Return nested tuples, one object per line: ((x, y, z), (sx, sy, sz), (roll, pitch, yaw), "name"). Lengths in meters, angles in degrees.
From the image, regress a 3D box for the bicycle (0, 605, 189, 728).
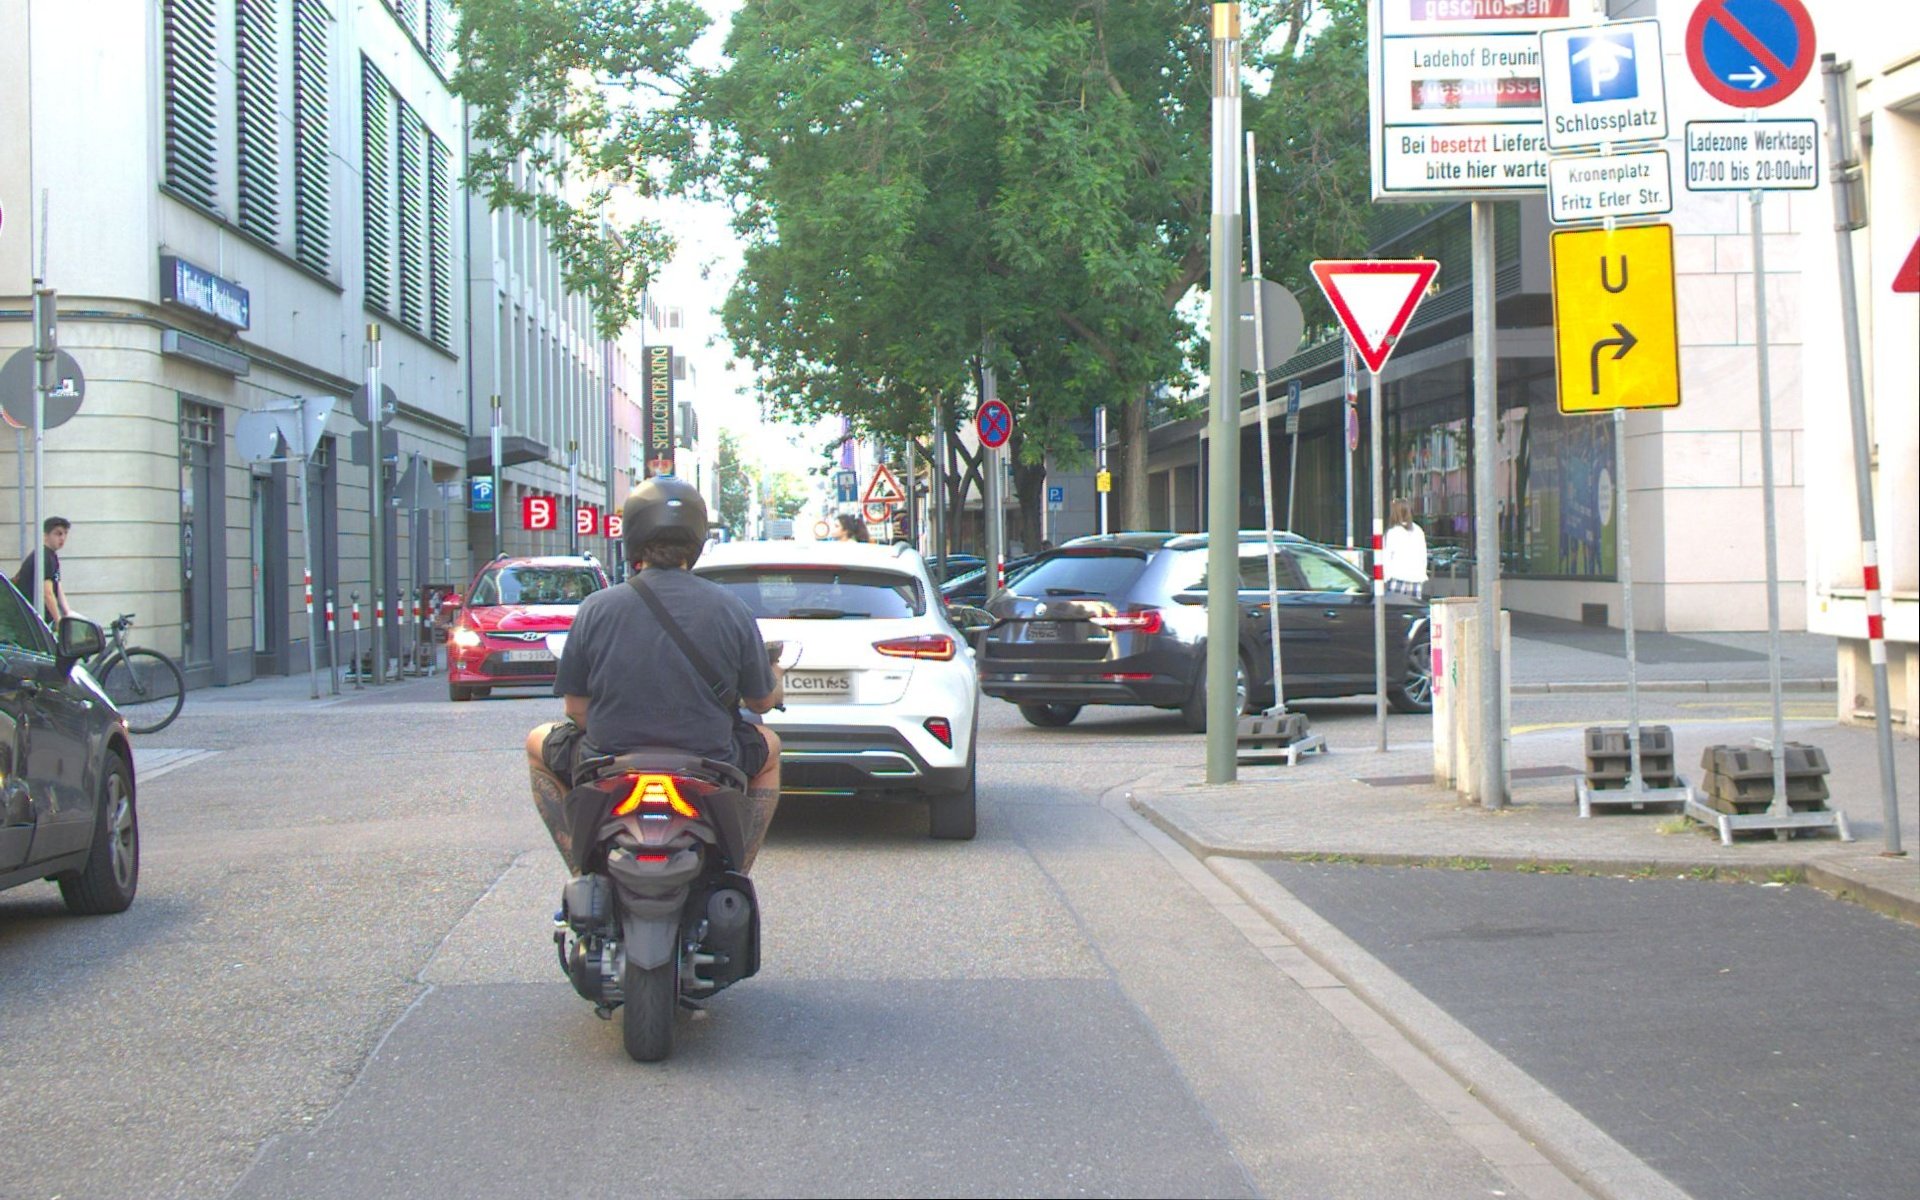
((-7.063, 0.522, 27.329), (1.814, 0.970, 0.511), (0, 0, -13), "bicycle")

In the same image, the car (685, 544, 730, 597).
((-11.594, -1.365, 157.669), (1.993, 2.321, 5.022), (1, 1, -5), "car")

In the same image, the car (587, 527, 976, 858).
((-0.963, 0.392, 18.429), (1.822, 1.536, 4.264), (-1, 1, -3), "car")

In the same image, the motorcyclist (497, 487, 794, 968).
((-0.942, 0.377, 10.421), (0.867, 1.422, 0.455), (0, 0, -1), "motorcyclist")

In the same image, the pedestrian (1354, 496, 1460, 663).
((4.756, -0.218, 36.597), (0.905, 1.700, 0.834), (-4, 0, -1), "pedestrian")

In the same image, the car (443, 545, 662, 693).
((-4.260, 0.226, 36.510), (1.822, 1.460, 4.263), (-1, -1, 0), "car")

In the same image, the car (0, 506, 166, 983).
((-4.332, 0.529, 12.803), (1.822, 1.672, 4.264), (-3, 1, -2), "car")

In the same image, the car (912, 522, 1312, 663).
((1.966, -0.108, 45.615), (5.004, 1.447, 2.000), (-4, 0, -4), "car")

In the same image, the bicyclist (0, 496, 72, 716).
((-7.331, 0.045, 27.264), (0.550, 1.726, 0.501), (0, 0, -13), "bicyclist")

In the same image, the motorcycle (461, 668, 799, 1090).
((-0.939, 0.776, 10.266), (0.872, 1.105, 1.840), (0, 0, -1), "motorcycle")

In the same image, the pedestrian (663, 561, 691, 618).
((-7.847, -0.283, 95.373), (0.732, 1.568, 0.636), (0, 0, -2), "pedestrian")

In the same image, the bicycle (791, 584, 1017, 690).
((-0.532, 0.346, 32.756), (2.101, 0.991, 0.519), (0, 0, -19), "bicycle")

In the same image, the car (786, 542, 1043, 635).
((-0.949, -0.236, 69.785), (5.004, 1.494, 2.000), (-4, 0, -4), "car")

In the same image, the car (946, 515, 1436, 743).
((1.881, 0.152, 26.632), (1.826, 1.536, 4.356), (1, 3, 34), "car")

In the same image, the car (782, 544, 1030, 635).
((-1.171, -0.225, 72.294), (5.004, 1.494, 2.000), (-4, 0, -4), "car")

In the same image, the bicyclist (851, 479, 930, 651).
((-0.661, -0.333, 32.712), (0.629, 1.620, 0.498), (0, 0, -20), "bicyclist")
